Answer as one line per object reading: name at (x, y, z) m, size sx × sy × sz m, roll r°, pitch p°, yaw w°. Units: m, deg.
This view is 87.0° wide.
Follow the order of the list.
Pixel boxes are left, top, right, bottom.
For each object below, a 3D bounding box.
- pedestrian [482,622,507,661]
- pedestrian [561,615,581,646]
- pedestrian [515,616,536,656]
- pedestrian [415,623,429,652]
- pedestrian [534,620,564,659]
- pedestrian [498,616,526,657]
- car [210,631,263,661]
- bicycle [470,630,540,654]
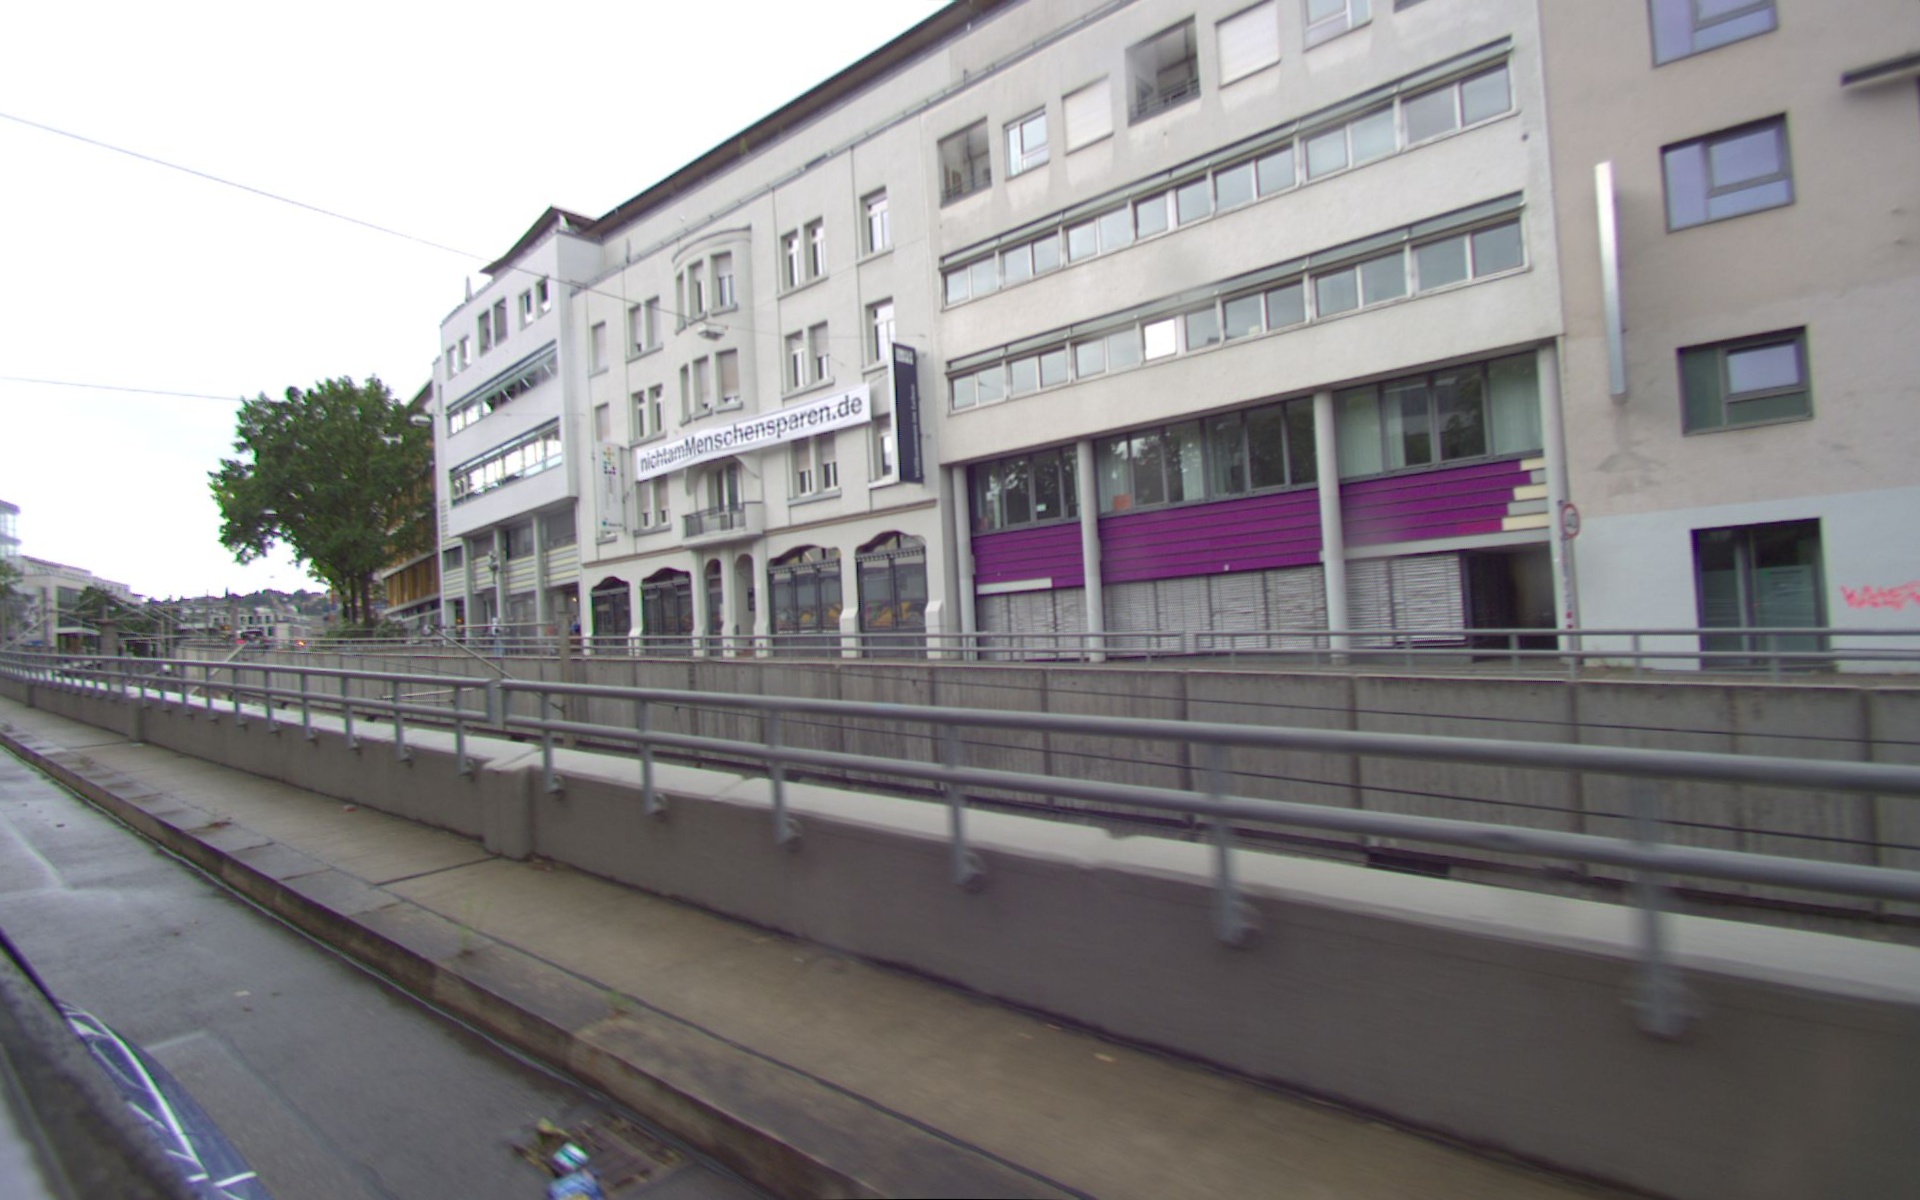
pedestrian at (-20.555, 1.821, 44.693) m, size 0.784 × 1.655 × 0.674 m, roll -2°, pitch -1°, yaw -2°
pedestrian at (-17.882, 1.402, 46.537) m, size 0.600 × 1.430 × 0.674 m, roll -1°, pitch -2°, yaw -44°
pedestrian at (-19.432, 1.612, 45.244) m, size 0.601 × 1.735 × 0.673 m, roll -2°, pitch -1°, yaw 1°
pedestrian at (-35.175, 2.476, 66.171) m, size 0.657 × 1.863 × 0.831 m, roll 1°, pitch -4°, yaw -39°
pedestrian at (-17.473, 1.676, 43.036) m, size 0.937 × 1.628 × 0.667 m, roll -3°, pitch -1°, yaw 27°
pedestrian at (-20.407, 1.662, 46.108) m, size 0.937 × 1.798 × 0.667 m, roll -3°, pitch -1°, yaw 27°
car at (-45.001, 2.875, 62.944) m, size 4.577 × 1.726 × 1.816 m, roll -3°, pitch -2°, yaw 43°
bicycle at (-22.524, 2.063, 50.025) m, size 1.673 × 1.051 × 4.525 m, roll -1°, pitch -1°, yaw -44°
